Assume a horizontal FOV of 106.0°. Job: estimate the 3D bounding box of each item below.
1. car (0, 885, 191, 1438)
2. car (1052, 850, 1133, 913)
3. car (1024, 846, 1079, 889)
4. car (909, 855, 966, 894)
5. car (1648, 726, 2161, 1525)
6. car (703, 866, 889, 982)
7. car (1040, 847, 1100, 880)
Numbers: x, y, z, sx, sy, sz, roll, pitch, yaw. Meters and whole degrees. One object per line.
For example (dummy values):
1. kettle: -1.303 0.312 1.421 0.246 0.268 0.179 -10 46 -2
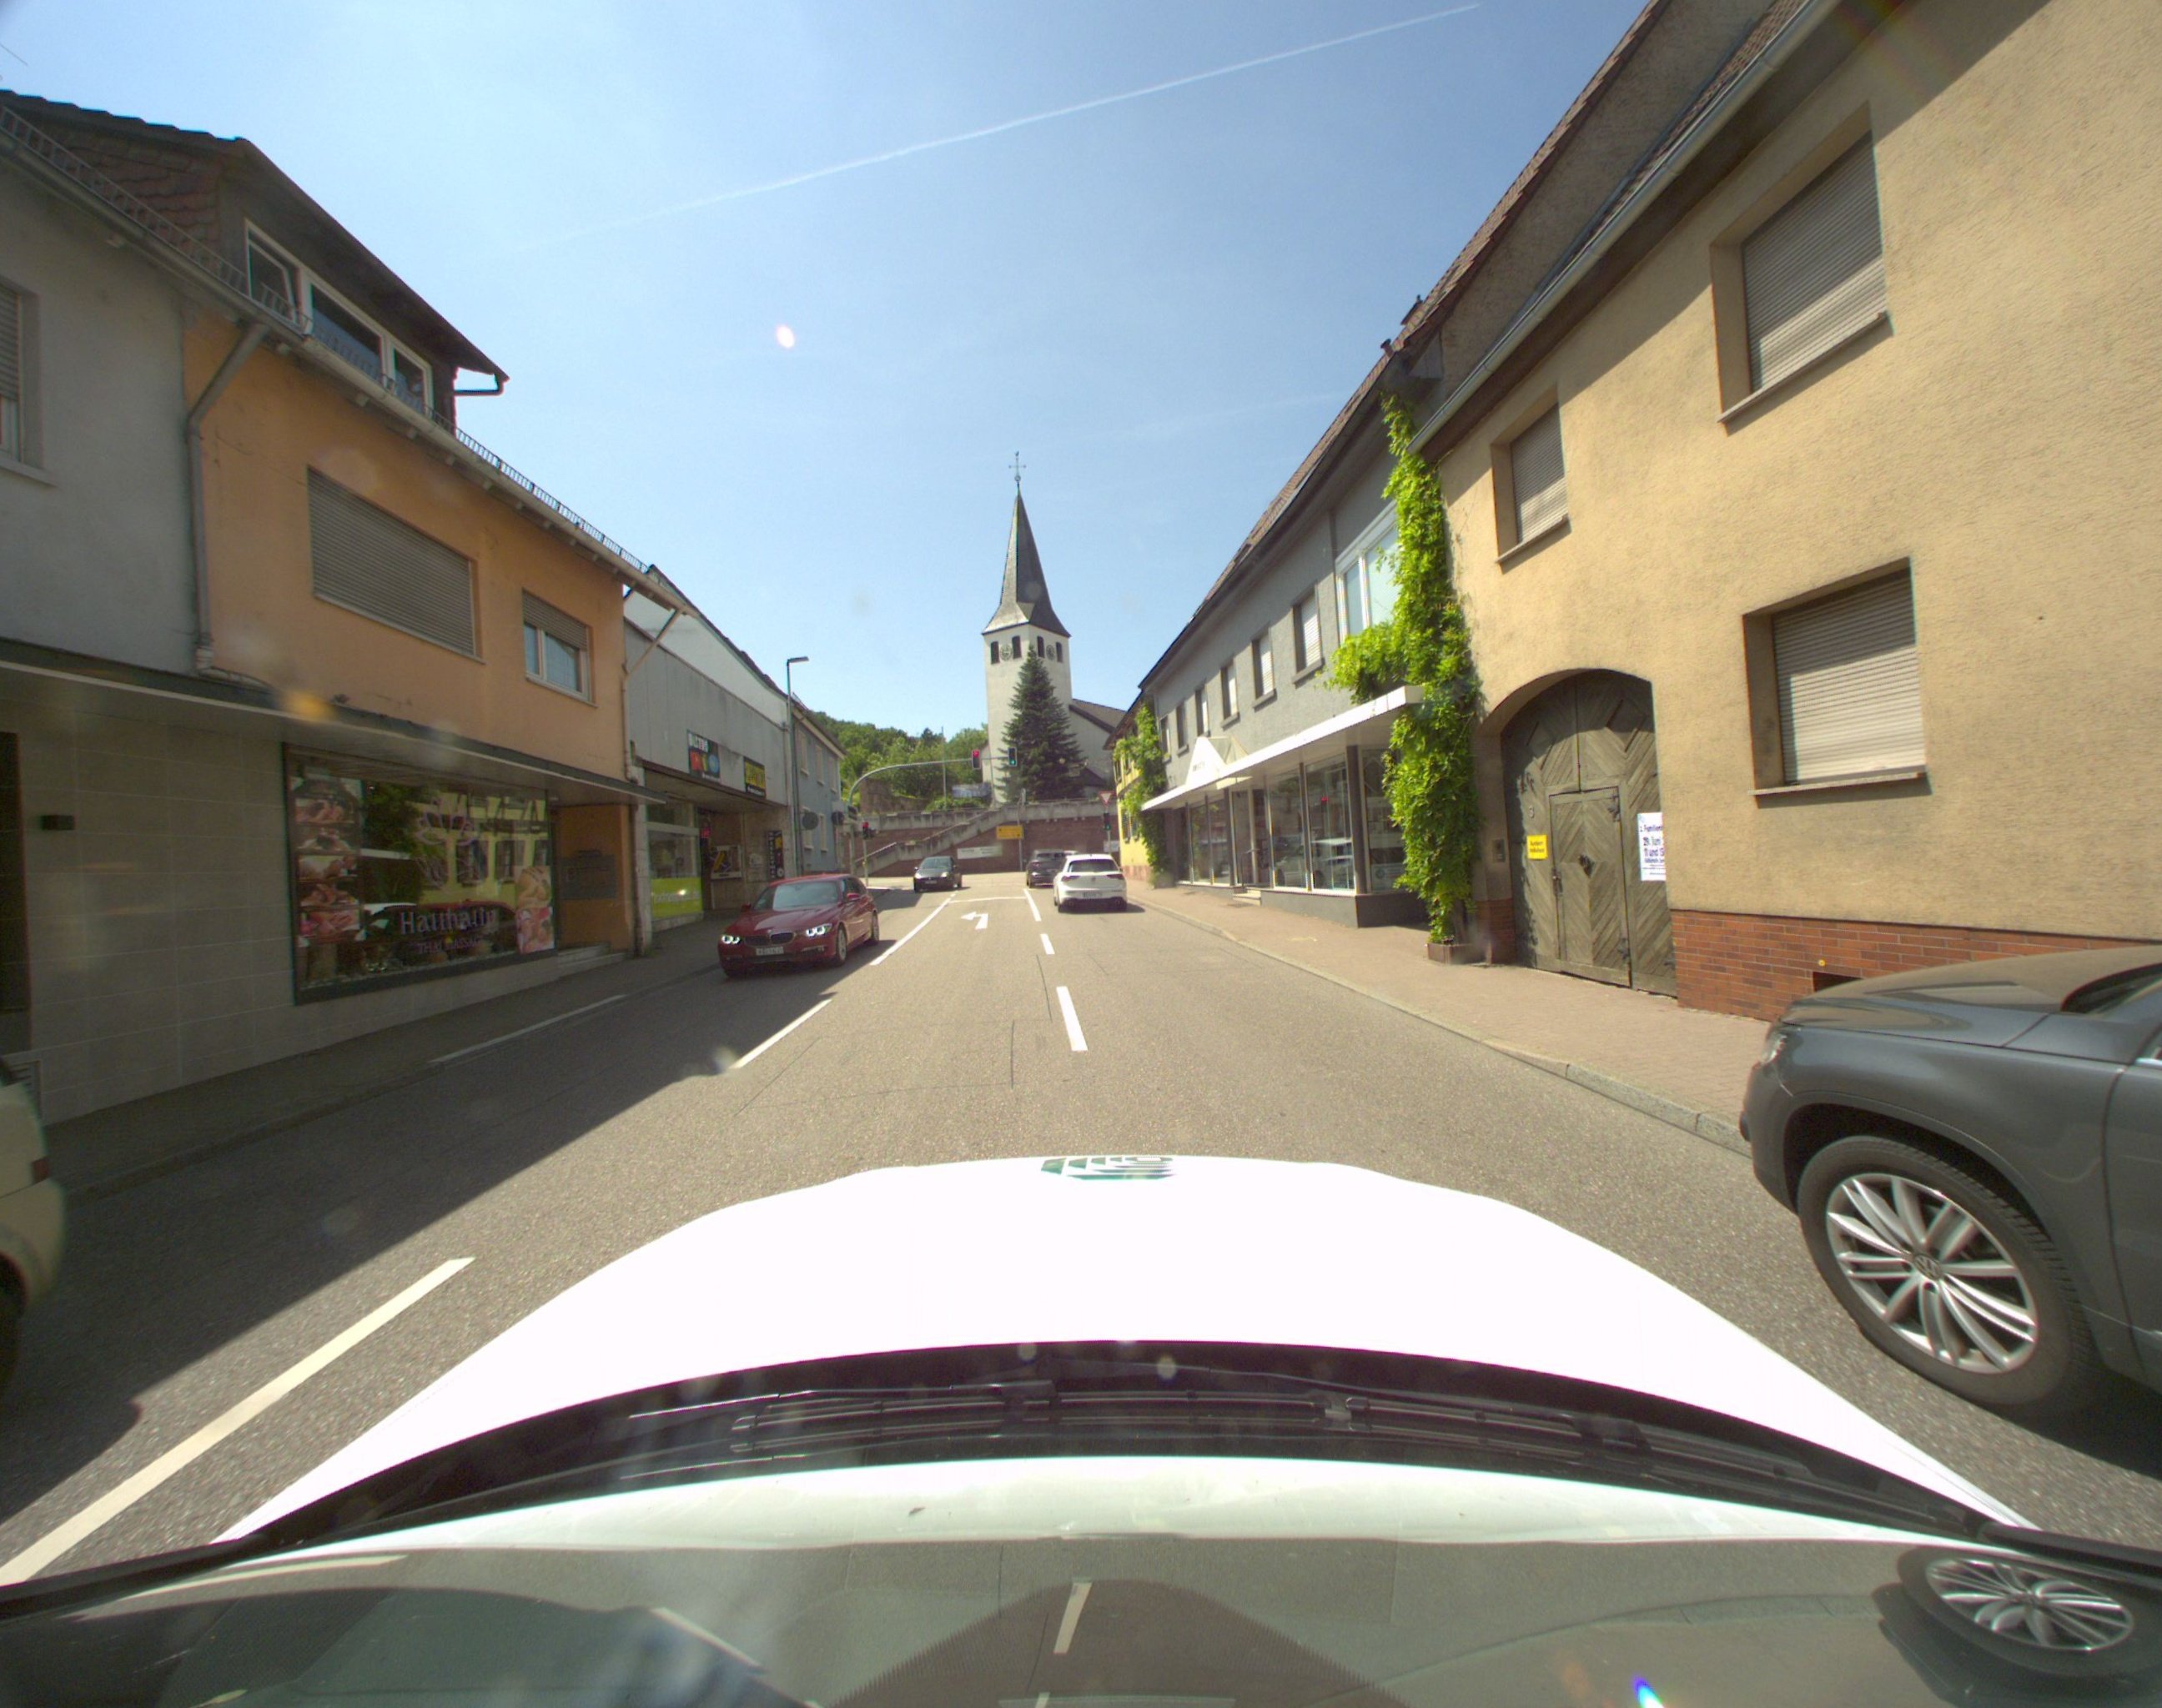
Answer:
1. car: -4.036 1.019 0.982 1.675 1.617 3.817 -5 1 -3
2. car: 0.209 0.684 21.851 1.779 1.458 3.857 -3 0 -4
3. car: -1.342 0.521 35.096 1.947 1.582 4.316 -3 2 -6
4. car: -6.242 0.852 35.821 1.712 1.422 3.821 -5 1 1
5. car: 3.248 0.495 1.059 1.988 1.708 4.099 -5 0 -1
6. car: -4.657 1.058 14.022 1.713 1.408 4.281 -6 1 -2
7. car: -0.543 0.464 43.617 1.755 1.496 4.009 -2 2 22
